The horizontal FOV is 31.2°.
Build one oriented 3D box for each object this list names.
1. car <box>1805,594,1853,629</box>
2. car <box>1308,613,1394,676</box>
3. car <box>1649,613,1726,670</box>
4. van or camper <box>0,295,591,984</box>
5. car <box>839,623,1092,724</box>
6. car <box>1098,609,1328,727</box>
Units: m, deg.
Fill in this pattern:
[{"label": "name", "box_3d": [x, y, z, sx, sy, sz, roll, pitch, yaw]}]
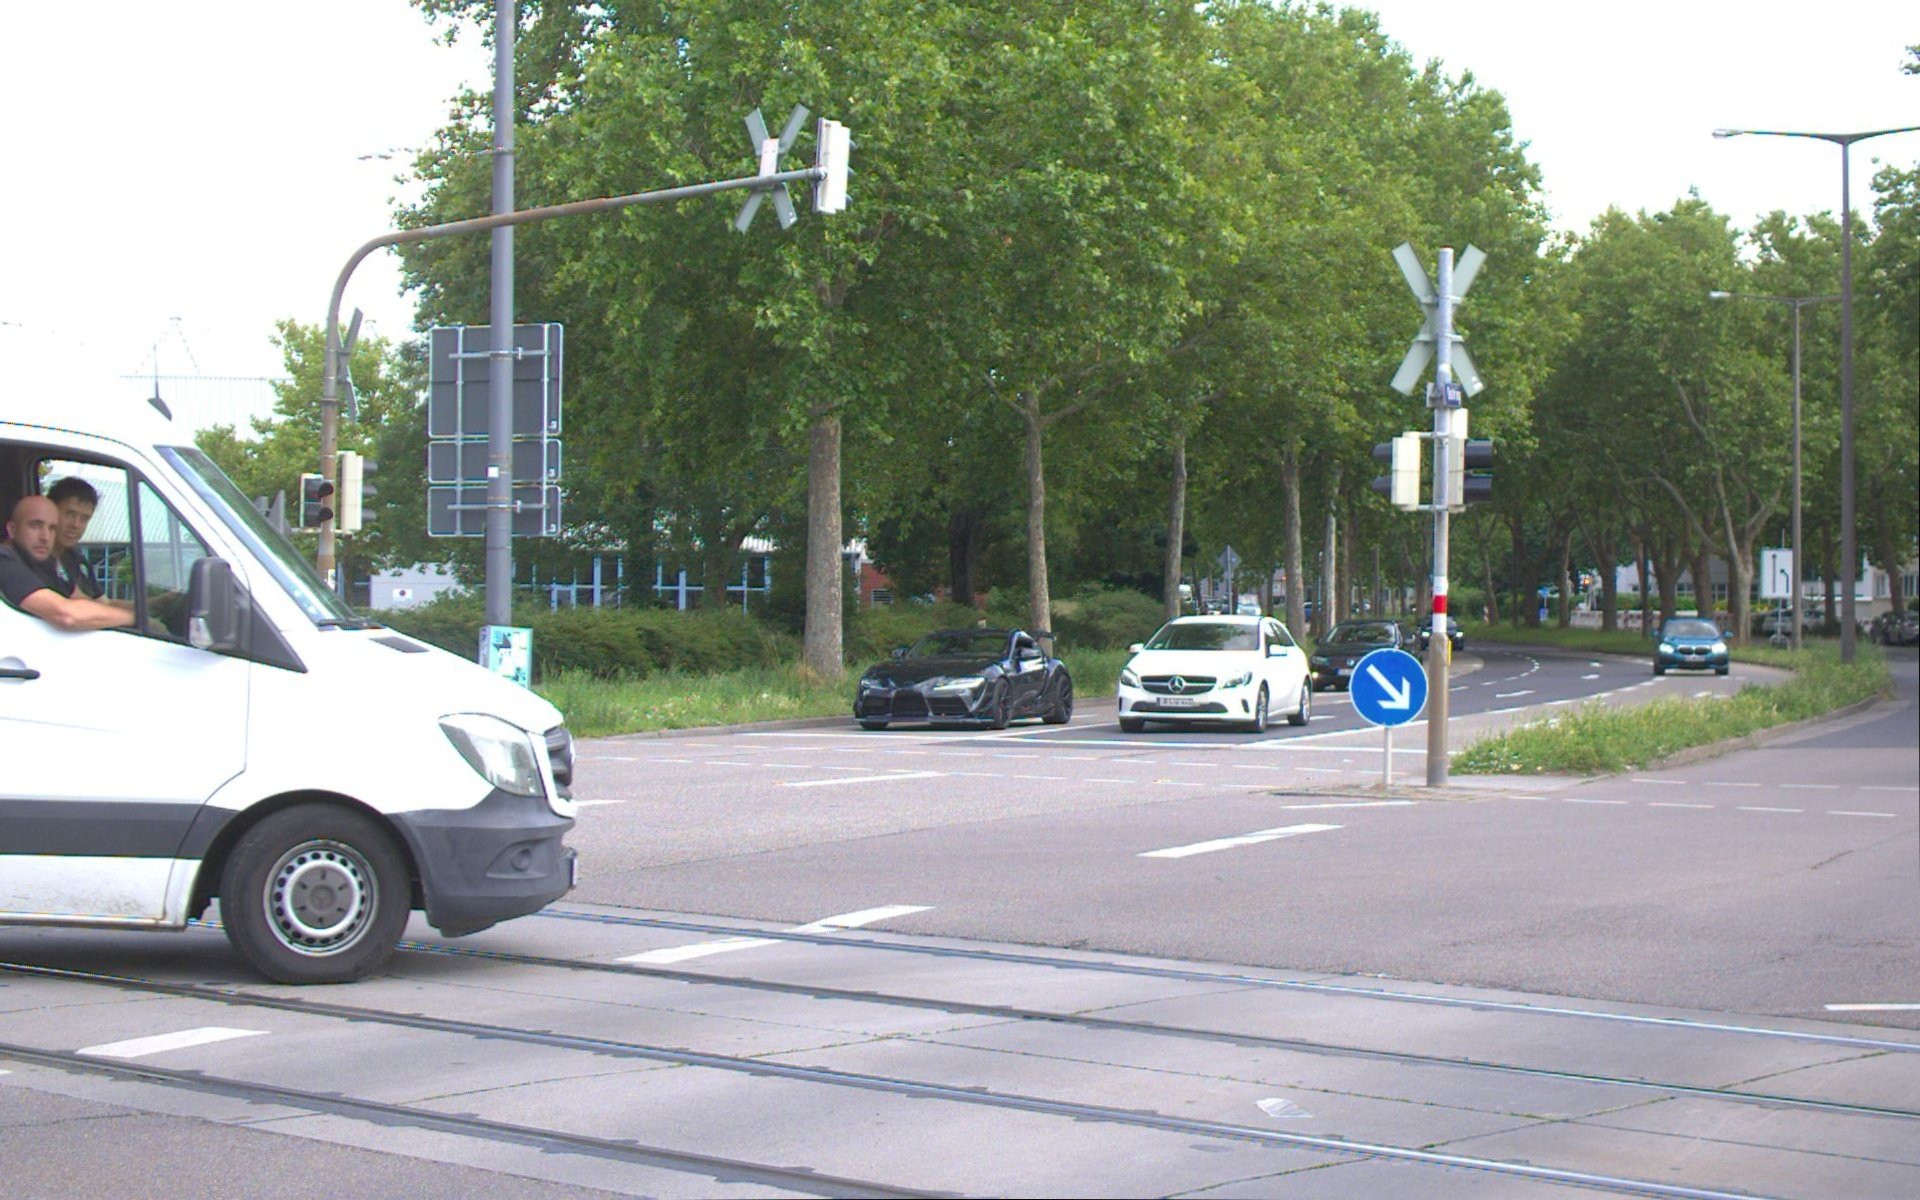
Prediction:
[{"label": "car", "box_3d": [43.034, 0.562, 170.271, 1.994, 1.568, 3.999, 0, 2, 10]}, {"label": "car", "box_3d": [7.971, 0.882, 69.872, 1.635, 1.187, 3.707, 1, 0, 8]}, {"label": "car", "box_3d": [18.458, 1.031, 87.353, 1.657, 1.267, 3.770, 0, 2, 8]}, {"label": "van or camper", "box_3d": [-4.509, 0.120, 13.454, 6.016, 2.516, 1.983, 1, 0, -7]}, {"label": "car", "box_3d": [0.116, 0.901, 43.651, 1.637, 1.187, 3.702, 1, 0, 29]}, {"label": "car", "box_3d": [3.227, 0.812, 43.098, 1.827, 1.360, 4.133, 1, 0, 20]}]
